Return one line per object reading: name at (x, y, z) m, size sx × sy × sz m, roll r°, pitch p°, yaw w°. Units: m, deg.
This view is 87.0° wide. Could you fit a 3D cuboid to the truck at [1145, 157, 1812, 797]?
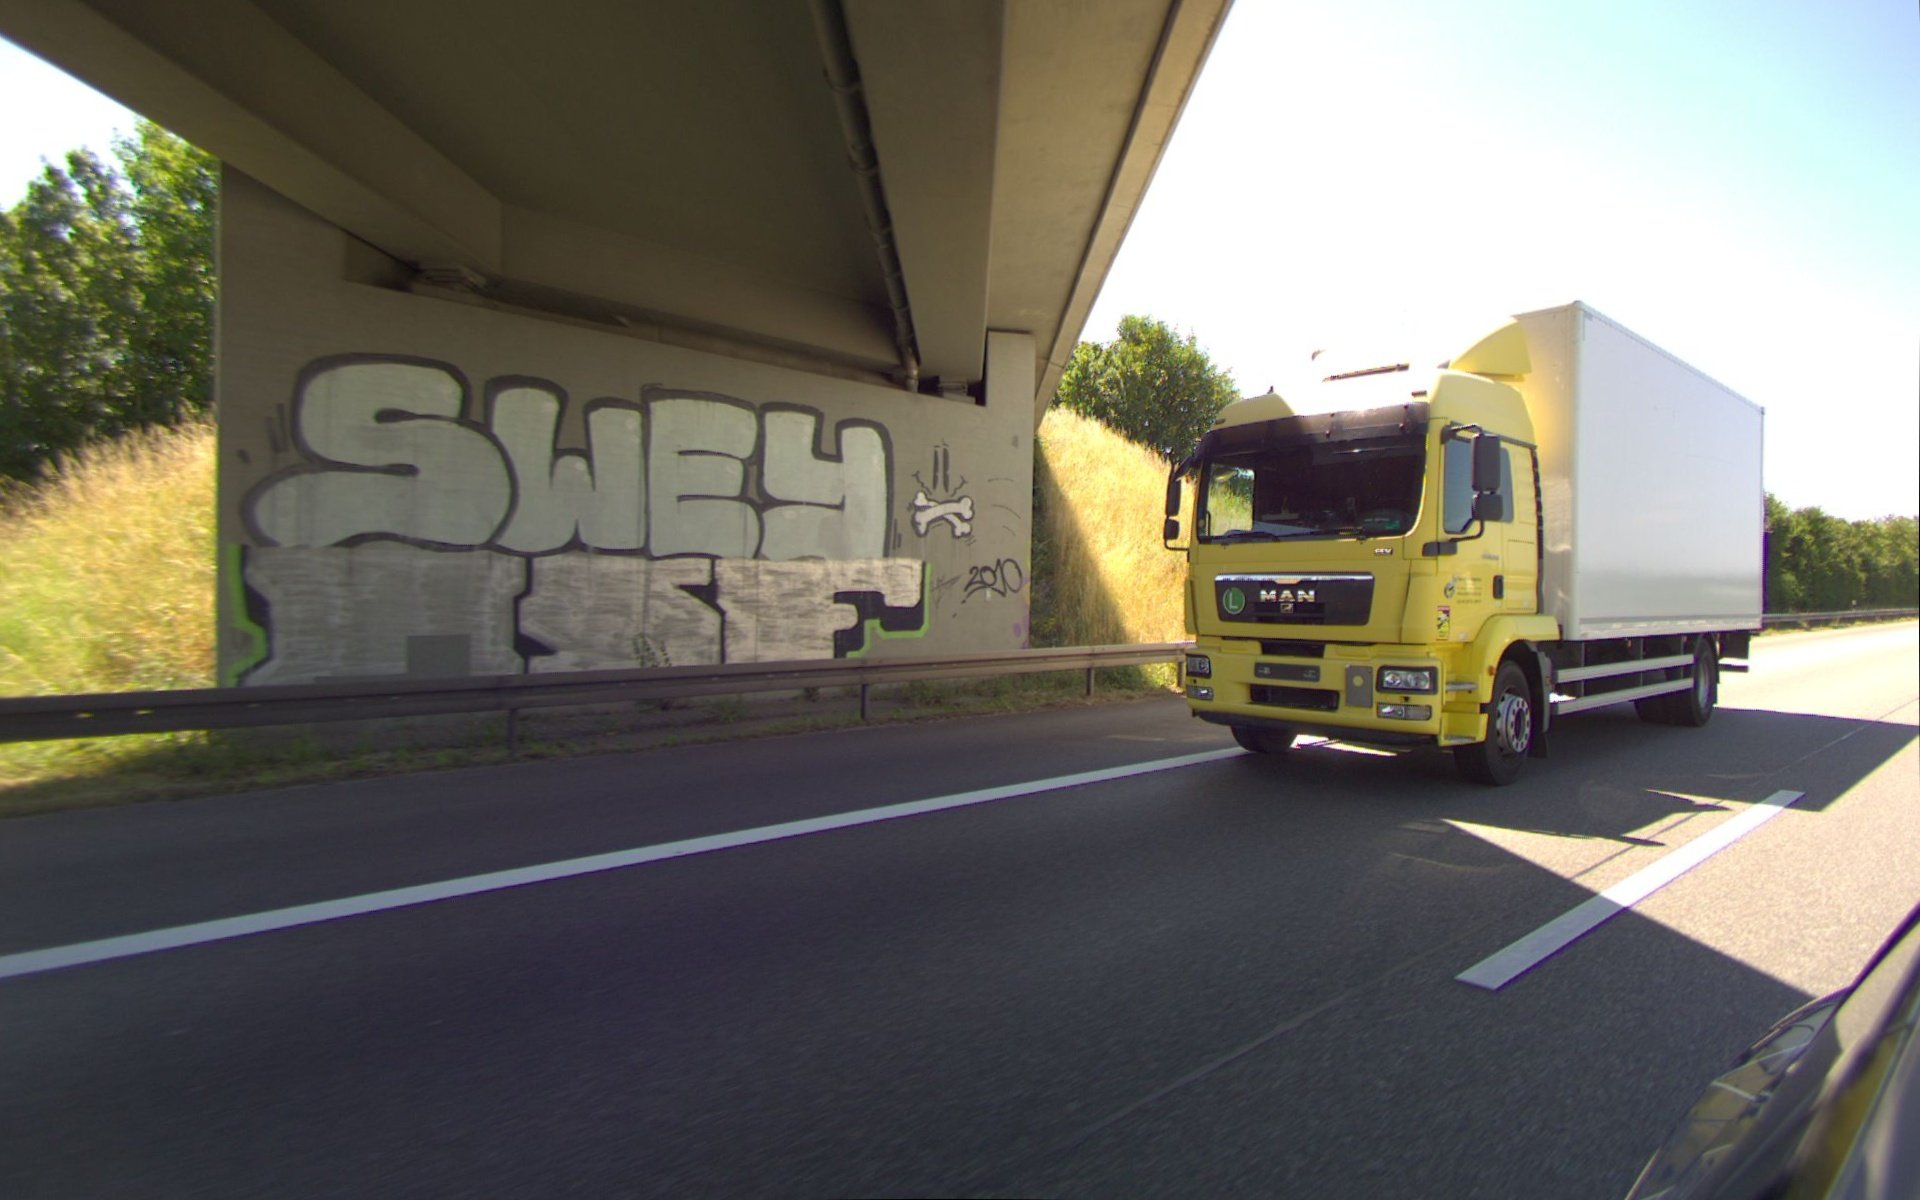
truck at (6.548, -0.839, 11.295) m, size 10.495 × 4.253 × 2.938 m, roll 0°, pitch 0°, yaw -41°
